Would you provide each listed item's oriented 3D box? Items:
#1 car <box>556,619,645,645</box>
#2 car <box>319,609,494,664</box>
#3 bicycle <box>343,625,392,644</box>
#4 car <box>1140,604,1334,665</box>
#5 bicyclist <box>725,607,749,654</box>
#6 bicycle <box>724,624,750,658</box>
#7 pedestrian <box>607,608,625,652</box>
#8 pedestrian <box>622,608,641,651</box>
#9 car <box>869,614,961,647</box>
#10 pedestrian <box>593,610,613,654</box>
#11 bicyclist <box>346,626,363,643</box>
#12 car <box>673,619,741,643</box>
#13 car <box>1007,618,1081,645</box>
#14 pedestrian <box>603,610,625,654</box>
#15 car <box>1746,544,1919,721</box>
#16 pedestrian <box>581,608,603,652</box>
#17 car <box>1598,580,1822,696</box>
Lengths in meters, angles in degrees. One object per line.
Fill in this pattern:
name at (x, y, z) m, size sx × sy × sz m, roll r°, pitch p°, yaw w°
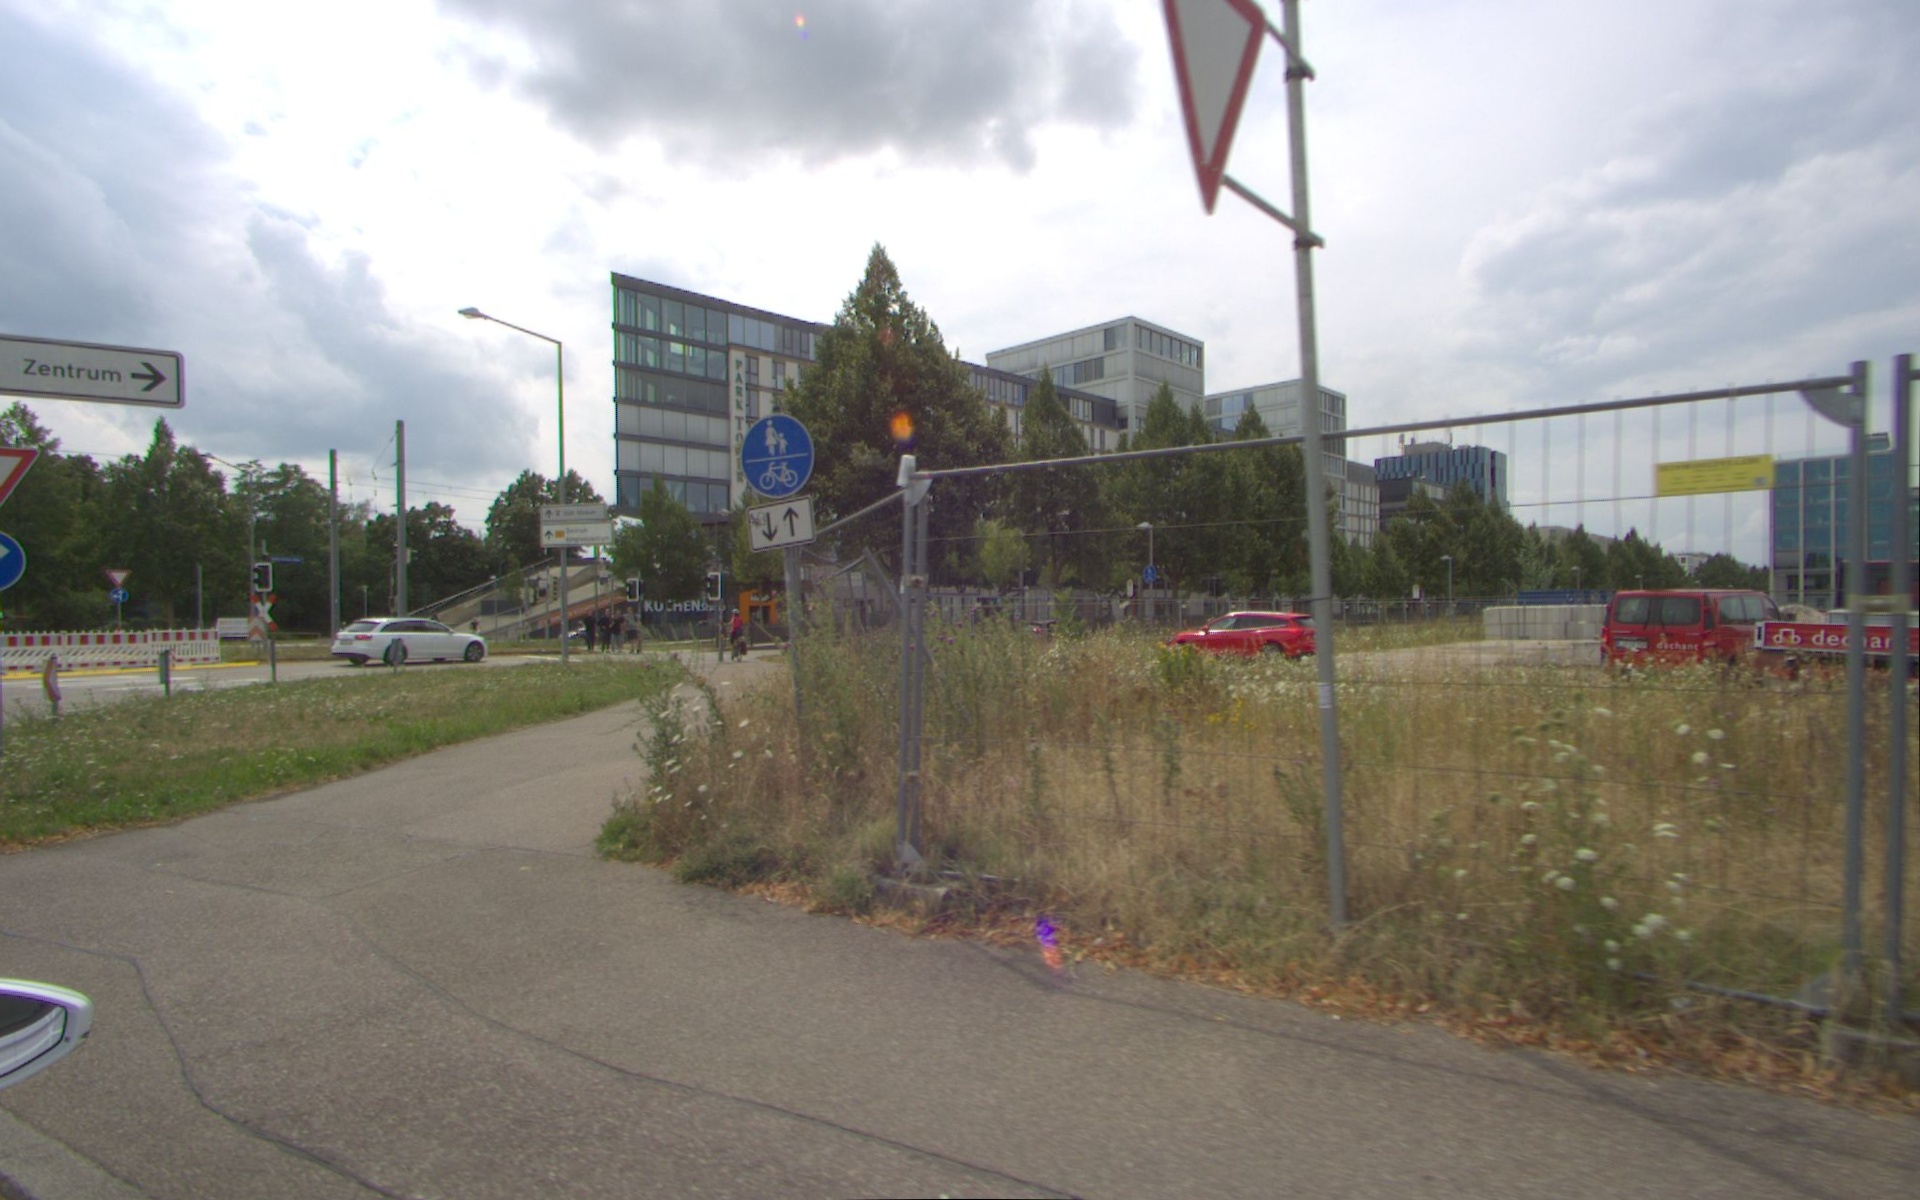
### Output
car at (-21.422, 1.899, 59.714) m, size 4.693 × 1.477 × 1.830 m, roll 1°, pitch -1°, yaw -45°
car at (-17.815, 1.142, 32.508) m, size 1.967 × 1.639 × 4.739 m, roll -1°, pitch -1°, yaw 24°
bicycle at (-31.565, 1.836, 53.376) m, size 2.166 × 0.950 × 0.613 m, roll 0°, pitch -2°, yaw -19°
car at (7.847, 0.969, 28.643) m, size 5.076 × 1.625 × 1.776 m, roll -1°, pitch -1°, yaw 39°
bicyclist at (-8.098, 1.101, 36.368) m, size 0.777 × 1.648 × 1.047 m, roll -1°, pitch 0°, yaw -17°
bicycle at (-8.126, 1.469, 36.446) m, size 0.777 × 1.183 × 2.038 m, roll -1°, pitch -1°, yaw -17°
pedestrian at (-14.687, 1.280, 42.762) m, size 0.546 × 1.886 × 0.527 m, roll 0°, pitch 0°, yaw 39°
pedestrian at (-13.943, 1.265, 42.525) m, size 0.546 × 1.805 × 0.576 m, roll 0°, pitch 0°, yaw 39°
car at (-2.286, 1.549, 51.624) m, size 1.979 × 1.639 × 4.710 m, roll -1°, pitch -1°, yaw 43°
pedestrian at (-15.049, 1.345, 42.219) m, size 0.546 × 1.805 × 0.629 m, roll 0°, pitch 0°, yaw 39°
bicyclist at (-32.152, 1.850, 53.177) m, size 0.647 × 0.895 × 0.606 m, roll 0°, pitch -2°, yaw -19°
car at (-16.575, 2.003, 65.738) m, size 3.961 × 1.477 × 1.831 m, roll 1°, pitch -1°, yaw -44°
car at (4.604, 1.691, 54.545) m, size 1.979 × 1.392 × 3.964 m, roll -1°, pitch -1°, yaw 44°
pedestrian at (-14.503, 1.345, 41.980) m, size 0.546 × 1.805 × 0.685 m, roll 0°, pitch 0°, yaw 39°
car at (15.498, 0.472, 16.330) m, size 6.455 × 2.444 × 2.304 m, roll 0°, pitch -1°, yaw -34°
pedestrian at (-15.314, 1.260, 41.726) m, size 0.546 × 1.805 × 0.685 m, roll 0°, pitch 0°, yaw 39°
car at (14.344, 0.643, 19.072) m, size 4.924 × 1.936 × 1.923 m, roll 0°, pitch 1°, yaw -35°
